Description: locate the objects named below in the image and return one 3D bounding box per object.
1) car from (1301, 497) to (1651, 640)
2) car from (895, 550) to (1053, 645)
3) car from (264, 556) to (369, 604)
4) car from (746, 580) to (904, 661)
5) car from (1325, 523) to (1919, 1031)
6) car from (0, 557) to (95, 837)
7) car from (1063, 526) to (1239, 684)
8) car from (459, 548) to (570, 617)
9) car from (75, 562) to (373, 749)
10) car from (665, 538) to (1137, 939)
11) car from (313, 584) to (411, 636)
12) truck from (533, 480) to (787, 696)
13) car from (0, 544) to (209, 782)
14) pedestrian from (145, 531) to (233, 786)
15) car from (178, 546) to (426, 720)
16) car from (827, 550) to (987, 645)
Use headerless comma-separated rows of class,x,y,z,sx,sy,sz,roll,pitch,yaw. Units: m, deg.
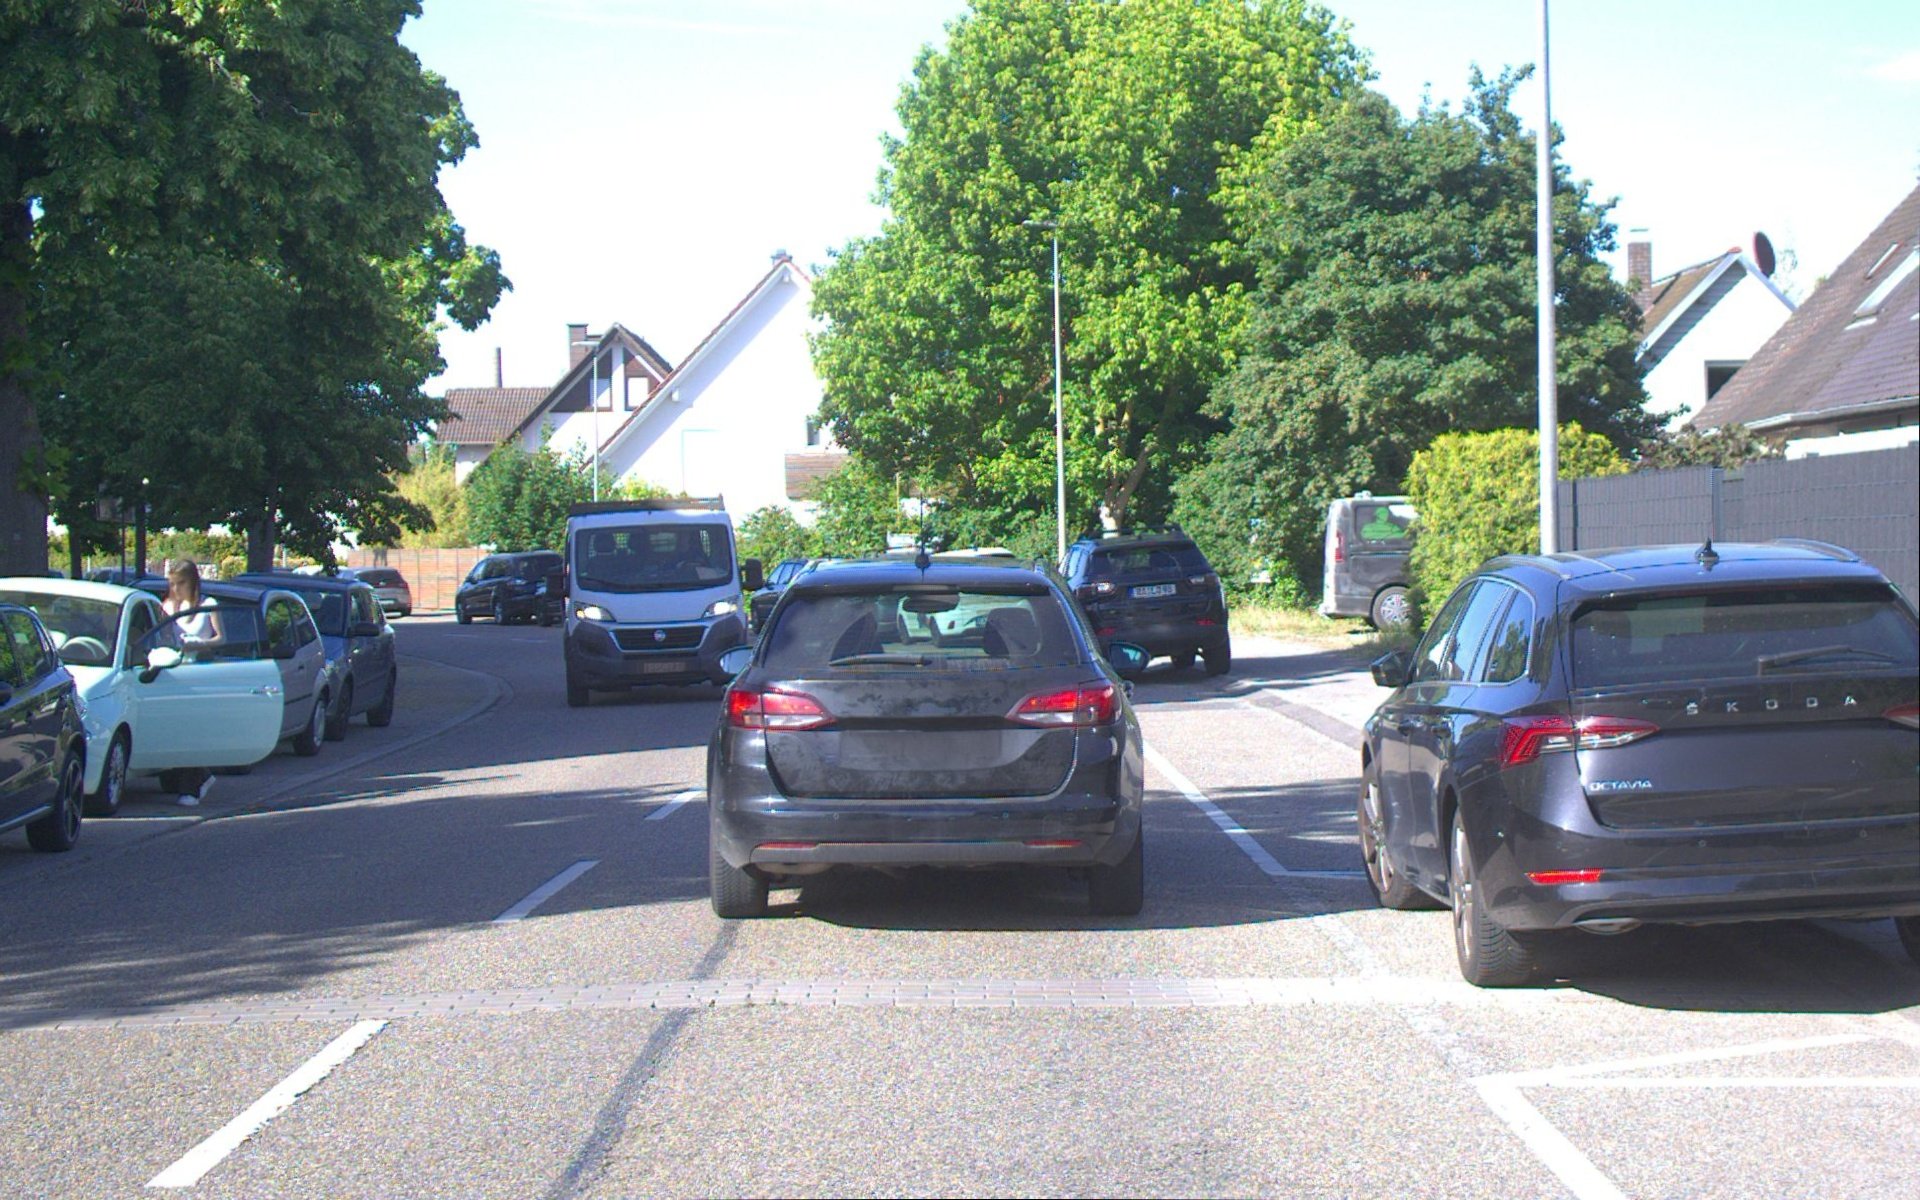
car,7.360,-0.437,49.372,4.680,1.977,2.143,0,0,0
car,0.182,-0.036,55.571,1.760,1.475,4.295,0,0,-11
car,-19.332,-0.598,103.119,1.916,1.403,4.294,0,0,-27
car,-2.612,0.380,65.455,2.005,1.470,4.295,0,0,-16
car,2.491,0.484,12.611,1.765,1.475,4.991,-1,1,0
car,-5.929,0.495,18.506,1.700,1.475,4.052,2,-1,-4
car,2.146,0.058,39.625,1.778,1.718,4.294,0,0,0
car,-11.012,-0.407,84.766,1.902,1.660,4.192,0,0,-19
car,-6.376,0.458,30.185,1.657,1.505,4.000,1,0,1
car,-0.241,0.535,15.190,1.761,1.486,4.291,1,0,0
car,-16.888,0.281,96.924,1.915,1.403,4.295,0,0,-21
truck,-3.440,-0.142,40.736,2.130,2.326,6.442,-1,0,3
car,-6.476,0.452,24.038,1.700,1.518,4.052,-1,-1,-2
pedestrian,-5.391,0.411,24.053,0.504,1.755,0.695,0,-2,-4
car,-6.484,0.283,34.243,1.567,1.525,3.918,4,1,1
car,-0.973,-0.043,60.348,1.911,1.595,4.295,0,0,-13
